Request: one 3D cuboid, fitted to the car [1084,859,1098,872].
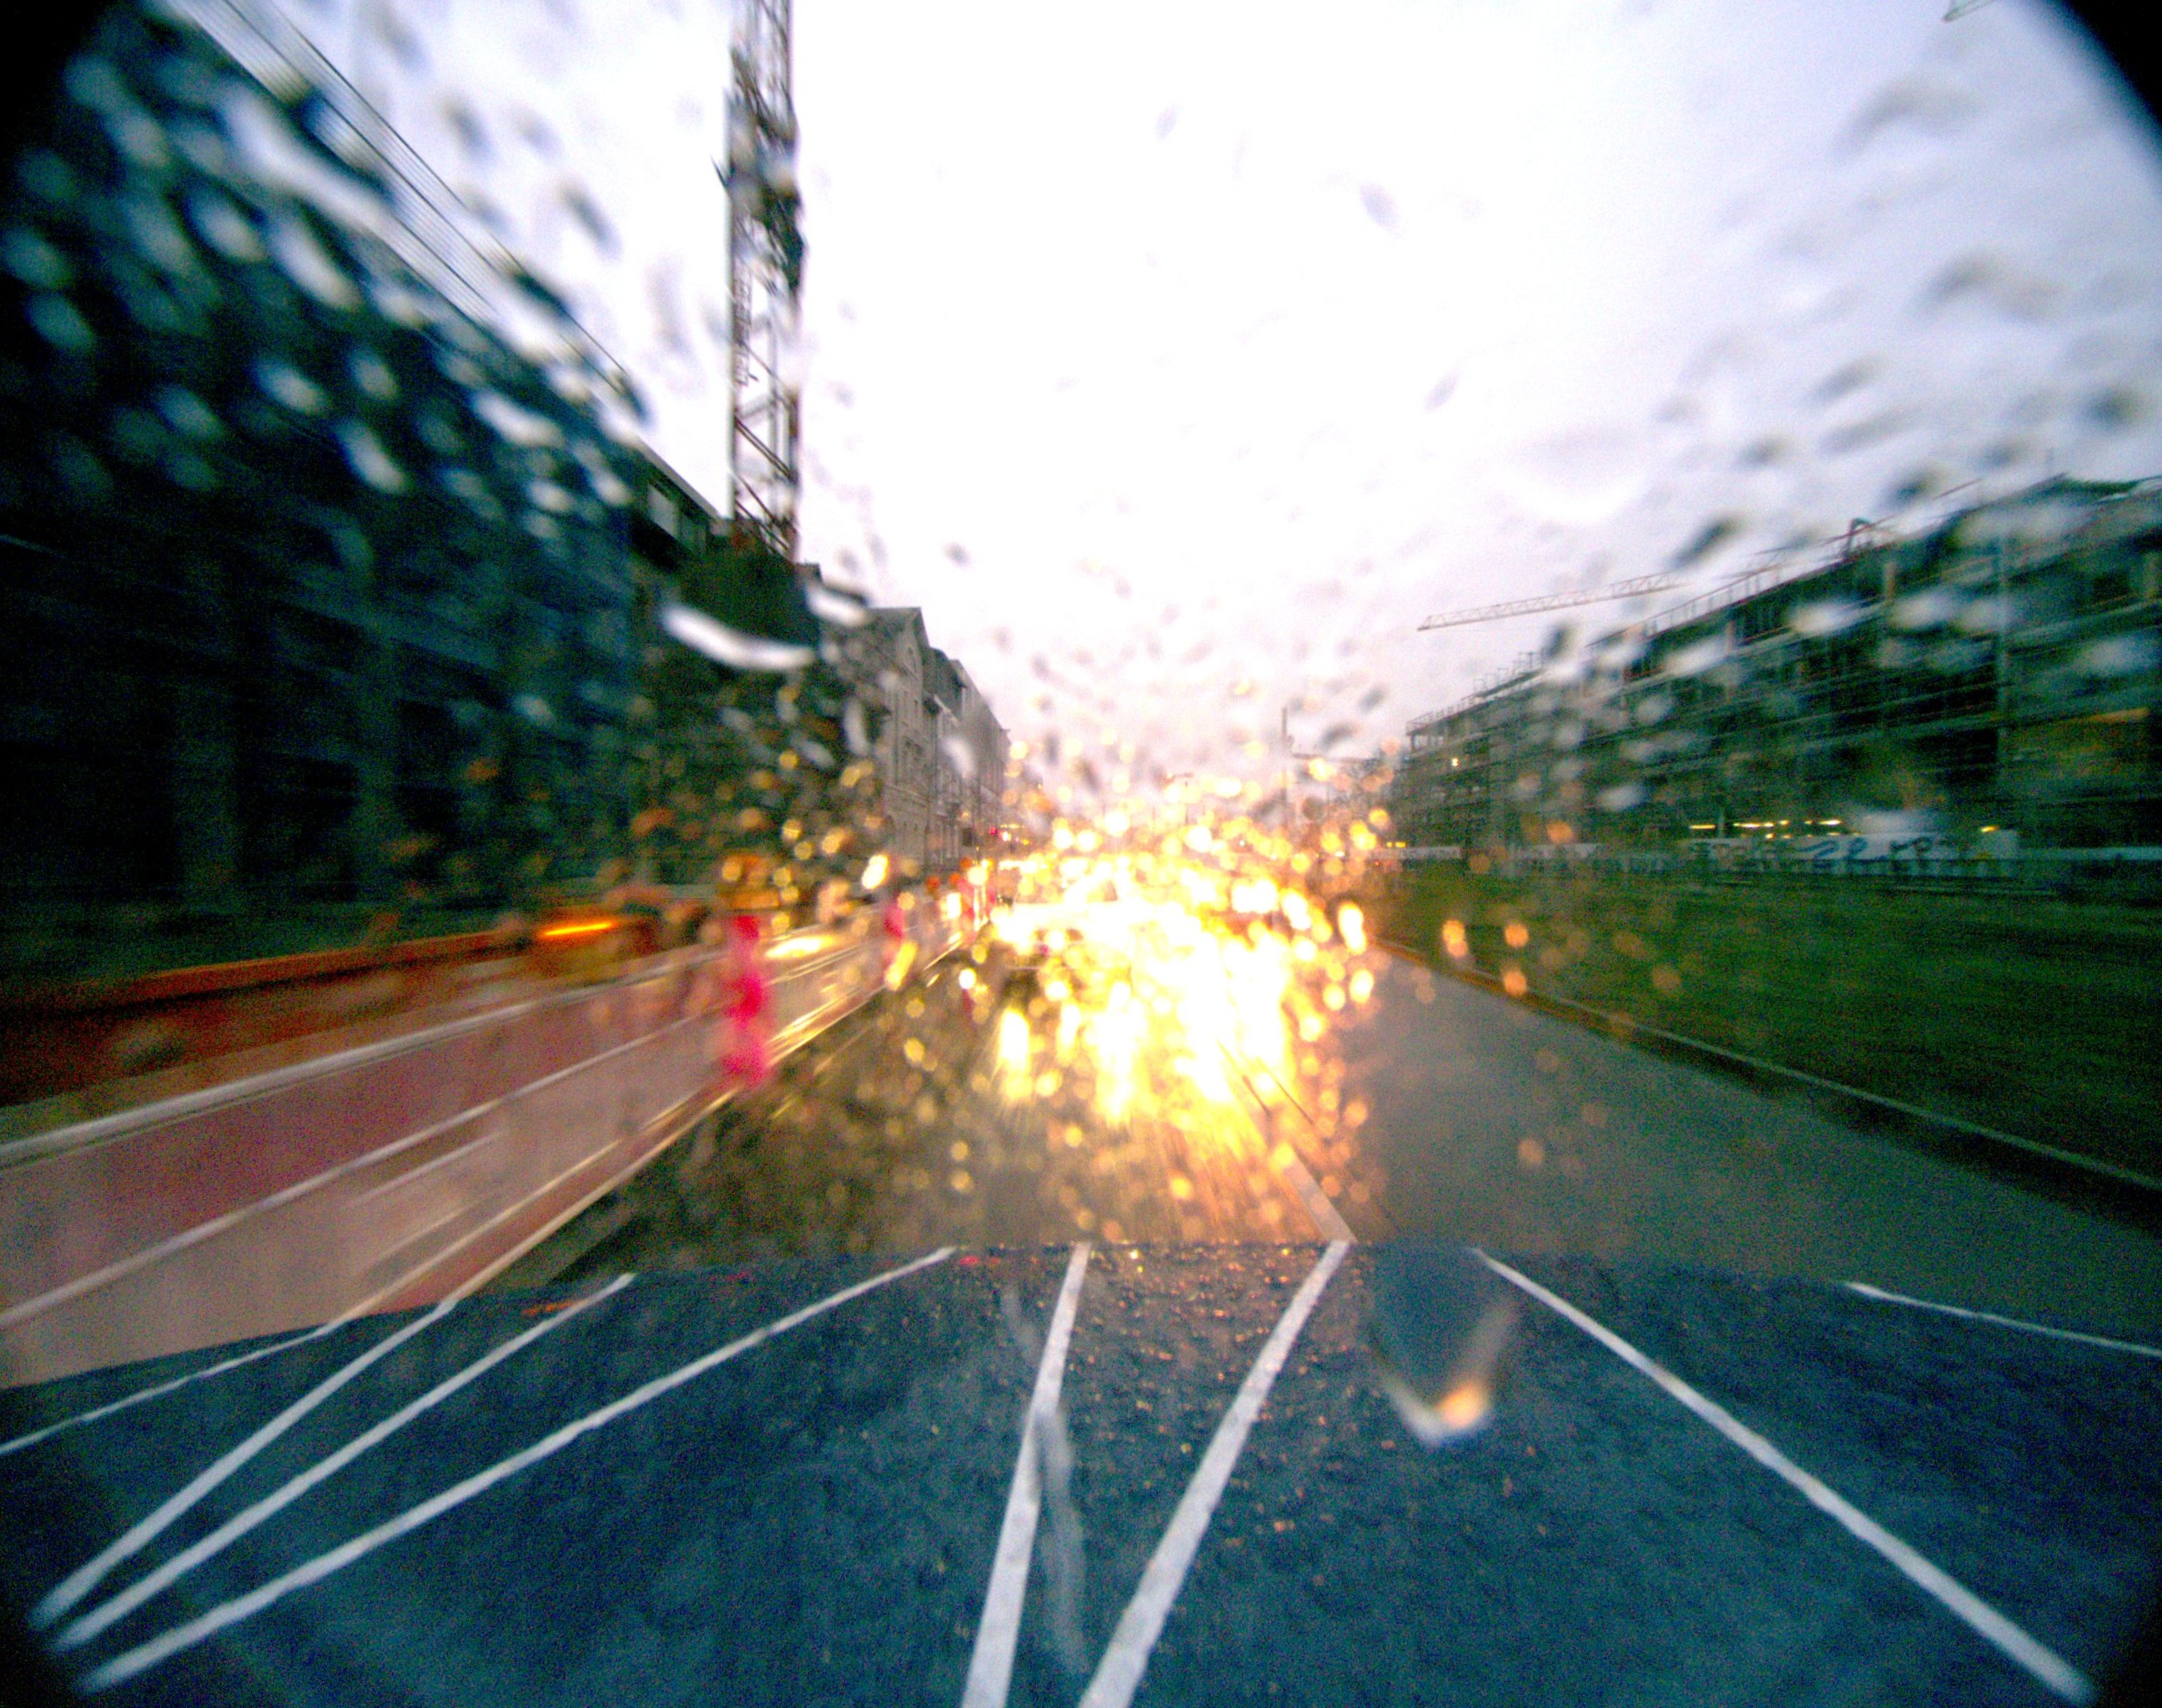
[{"bbox_3d":[1.362,1.639,107.214,1.867,1.652,3.986,-1,0,0],"label":"car"}]

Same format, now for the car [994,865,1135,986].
[{"bbox_3d":[-0.137,0.965,12.022,1.814,1.464,4.139,-1,0,2],"label":"car"}]

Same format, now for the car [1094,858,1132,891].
[{"bbox_3d":[1.776,1.117,43.023,1.998,1.673,4.000,-1,0,2],"label":"car"}]

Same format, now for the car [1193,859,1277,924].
[{"bbox_3d":[3.753,0.853,19.124,1.808,1.444,4.007,0,0,8],"label":"car"}]

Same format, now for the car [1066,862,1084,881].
[{"bbox_3d":[-0.670,1.951,85.523,1.998,2.002,4.000,-1,1,0],"label":"car"}]

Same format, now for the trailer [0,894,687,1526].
[{"bbox_3d":[-3.761,1.034,3.003,1.840,1.481,4.847,0,0,0],"label":"trailer"}]

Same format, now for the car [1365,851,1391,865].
[{"bbox_3d":[37.043,0.478,94.866,1.758,1.652,3.765,-1,-1,2],"label":"car"}]

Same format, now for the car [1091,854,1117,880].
[{"bbox_3d":[1.719,0.986,57.986,1.865,1.867,4.000,-1,0,1],"label":"car"}]

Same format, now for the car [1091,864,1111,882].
[{"bbox_3d":[1.940,1.855,74.534,1.867,1.652,3.986,-1,0,0],"label":"car"}]

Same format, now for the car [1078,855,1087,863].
[{"bbox_3d":[0.365,1.118,177.893,1.867,1.652,3.986,-1,0,0],"label":"car"}]

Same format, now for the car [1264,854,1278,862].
[{"bbox_3d":[37.046,0.823,147.991,1.686,1.406,4.341,-1,0,2],"label":"car"}]
